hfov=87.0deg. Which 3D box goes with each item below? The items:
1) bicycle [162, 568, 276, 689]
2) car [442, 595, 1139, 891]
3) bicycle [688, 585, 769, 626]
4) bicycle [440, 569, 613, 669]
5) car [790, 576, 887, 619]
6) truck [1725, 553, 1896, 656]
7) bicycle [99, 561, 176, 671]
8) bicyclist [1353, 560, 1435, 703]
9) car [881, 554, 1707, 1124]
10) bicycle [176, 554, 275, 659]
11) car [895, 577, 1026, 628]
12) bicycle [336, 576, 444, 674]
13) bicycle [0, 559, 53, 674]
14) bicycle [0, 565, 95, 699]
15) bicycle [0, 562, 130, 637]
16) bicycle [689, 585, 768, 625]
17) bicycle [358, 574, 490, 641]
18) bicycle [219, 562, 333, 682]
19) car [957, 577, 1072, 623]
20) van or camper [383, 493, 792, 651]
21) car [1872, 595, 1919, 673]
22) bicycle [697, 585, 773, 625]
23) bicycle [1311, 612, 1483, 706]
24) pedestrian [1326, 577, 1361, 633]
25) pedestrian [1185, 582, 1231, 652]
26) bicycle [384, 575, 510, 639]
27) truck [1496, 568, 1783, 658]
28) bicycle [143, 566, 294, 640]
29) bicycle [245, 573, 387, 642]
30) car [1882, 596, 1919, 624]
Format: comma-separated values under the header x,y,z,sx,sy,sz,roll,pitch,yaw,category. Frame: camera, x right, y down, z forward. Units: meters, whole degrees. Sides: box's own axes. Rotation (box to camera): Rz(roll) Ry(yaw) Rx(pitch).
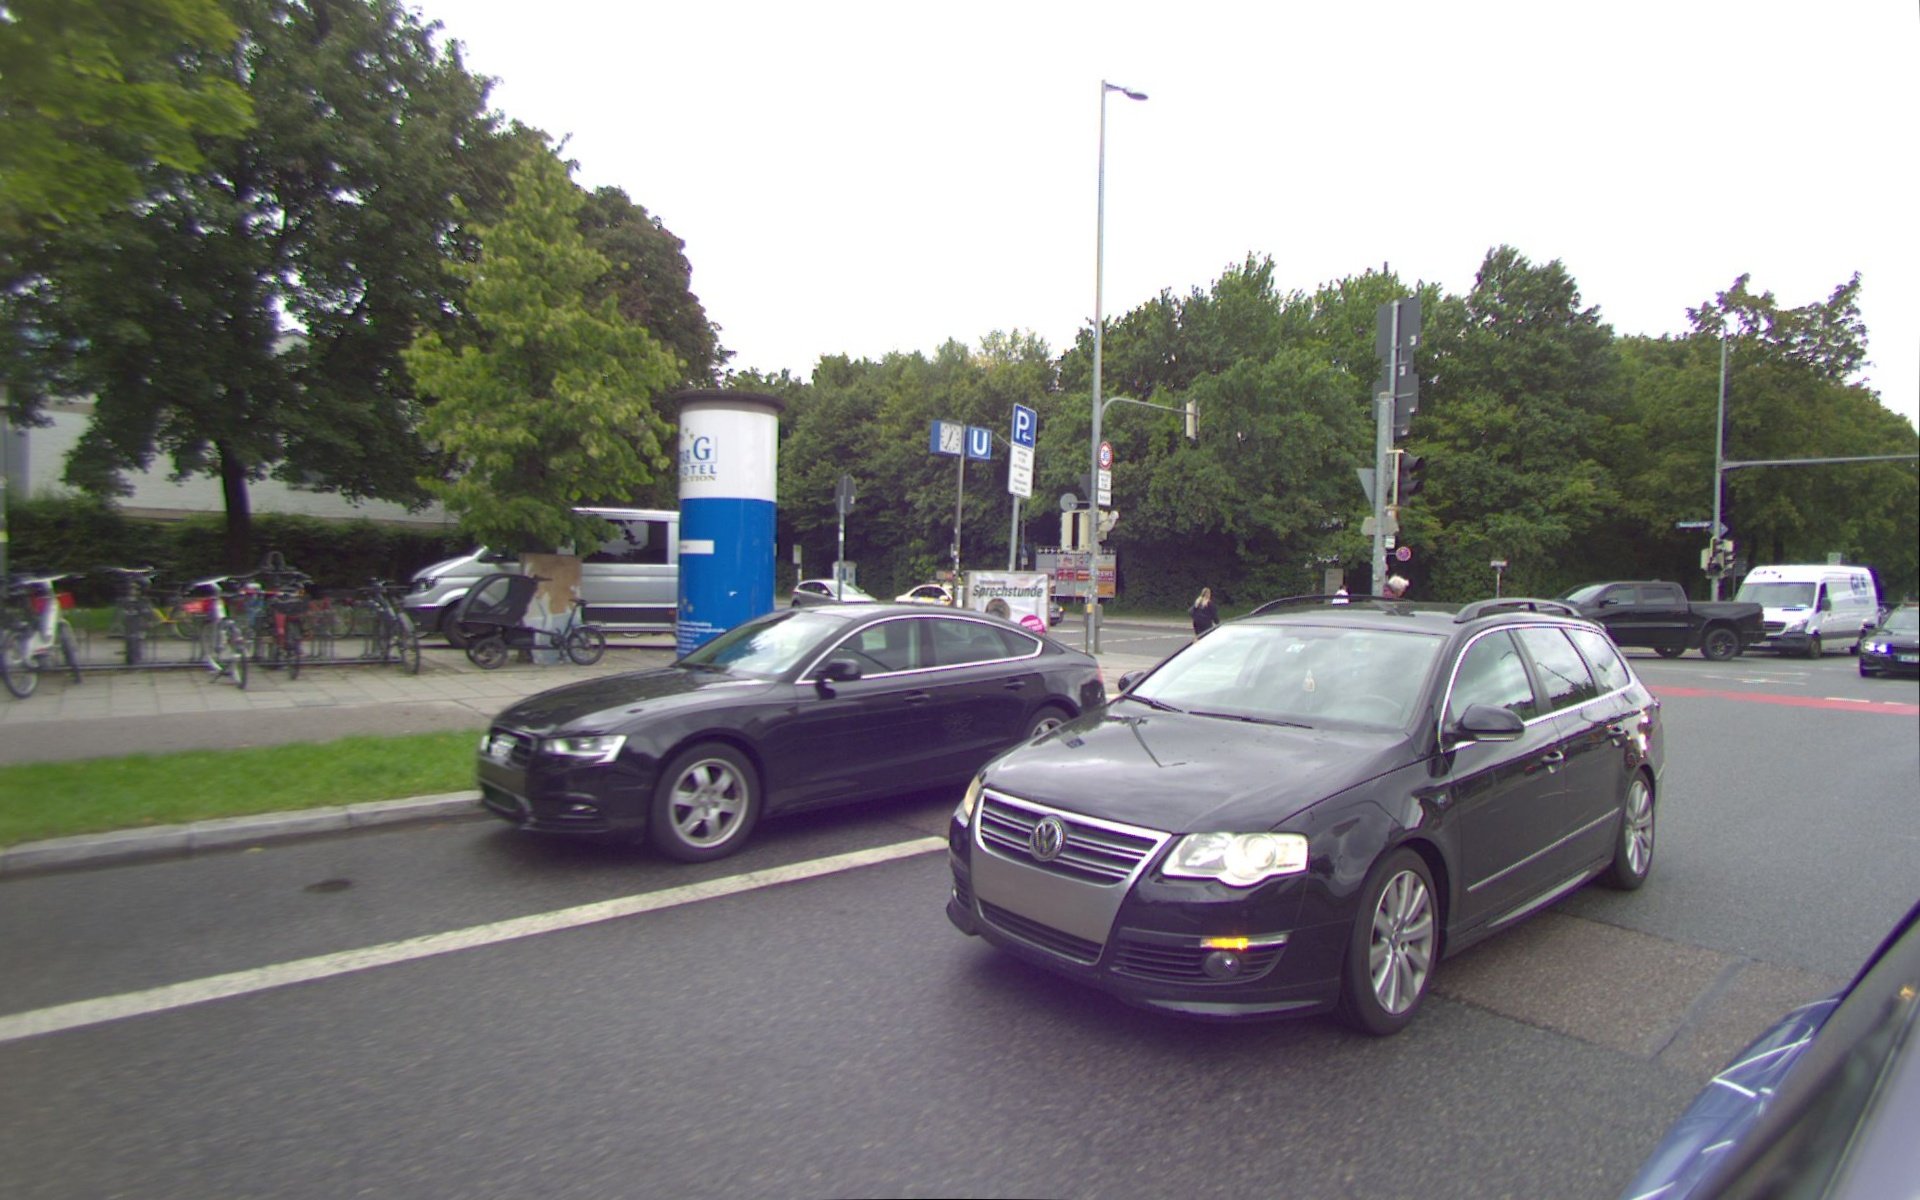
x,y,z,sx,sy,sz,roll,pitch,yaw,category
-8.120,0.273,11.065,1.803,1.156,0.559,4,3,39,bicycle
-0.849,0.667,6.942,4.543,1.377,1.712,0,1,-43,car
-6.373,0.150,27.855,2.072,1.108,0.610,1,1,-31,bicycle
-5.779,0.228,13.523,1.962,1.213,0.864,0,3,-37,bicycle
-4.612,-0.111,37.986,1.600,1.472,3.942,0,2,-43,car
24.289,0.086,28.778,7.090,2.636,2.000,0,1,-35,truck
-9.752,0.150,12.040,0.556,1.156,1.813,1,3,-35,bicycle
5.621,0.384,13.153,0.816,1.786,0.743,1,1,14,bicyclist
1.970,0.608,4.858,4.592,1.493,1.750,0,1,-42,car
-9.629,0.049,13.232,1.936,1.227,0.559,4,3,39,bicycle
-0.052,0.041,33.216,1.856,1.516,4.305,0,2,-43,car
-7.218,0.283,12.781,1.803,1.084,0.559,4,3,39,bicycle
-10.631,0.147,11.380,0.557,1.156,1.811,0,3,-39,bicycle
-9.124,0.272,10.018,0.556,1.156,1.814,1,3,-31,bicycle
-15.137,-0.023,16.903,2.092,1.168,0.717,2,1,7,bicycle
-6.548,0.142,28.679,2.073,1.108,0.610,0,1,-33,bicycle
-10.037,0.131,18.983,2.088,1.168,0.718,1,1,0,bicycle
-8.028,0.214,11.842,1.936,1.227,0.559,4,3,39,bicycle
1.891,-0.038,35.808,3.935,1.472,1.603,2,2,42,car
-6.108,-0.406,17.083,6.069,2.325,2.153,1,1,-23,van or camper
20.110,0.666,20.515,4.589,1.447,1.818,0,2,-41,car
-6.542,0.137,29.479,2.073,1.108,0.610,0,1,-33,bicycle
5.624,0.738,13.152,1.919,1.094,0.744,2,1,15,bicycle
12.241,0.147,32.270,0.758,1.724,0.926,2,1,40,pedestrian
5.660,0.379,23.149,0.722,1.557,0.694,1,1,-21,pedestrian
-10.014,0.125,19.789,2.088,1.168,0.718,1,1,0,bicycle
17.077,0.290,25.670,5.704,2.038,2.105,1,1,2,truck
-12.446,0.040,17.008,2.091,1.168,0.718,1,1,5,bicycle
-11.533,0.123,18.167,2.088,1.168,0.718,1,1,0,bicycle
61.097,0.622,65.463,4.183,1.670,1.750,0,2,-42,car
